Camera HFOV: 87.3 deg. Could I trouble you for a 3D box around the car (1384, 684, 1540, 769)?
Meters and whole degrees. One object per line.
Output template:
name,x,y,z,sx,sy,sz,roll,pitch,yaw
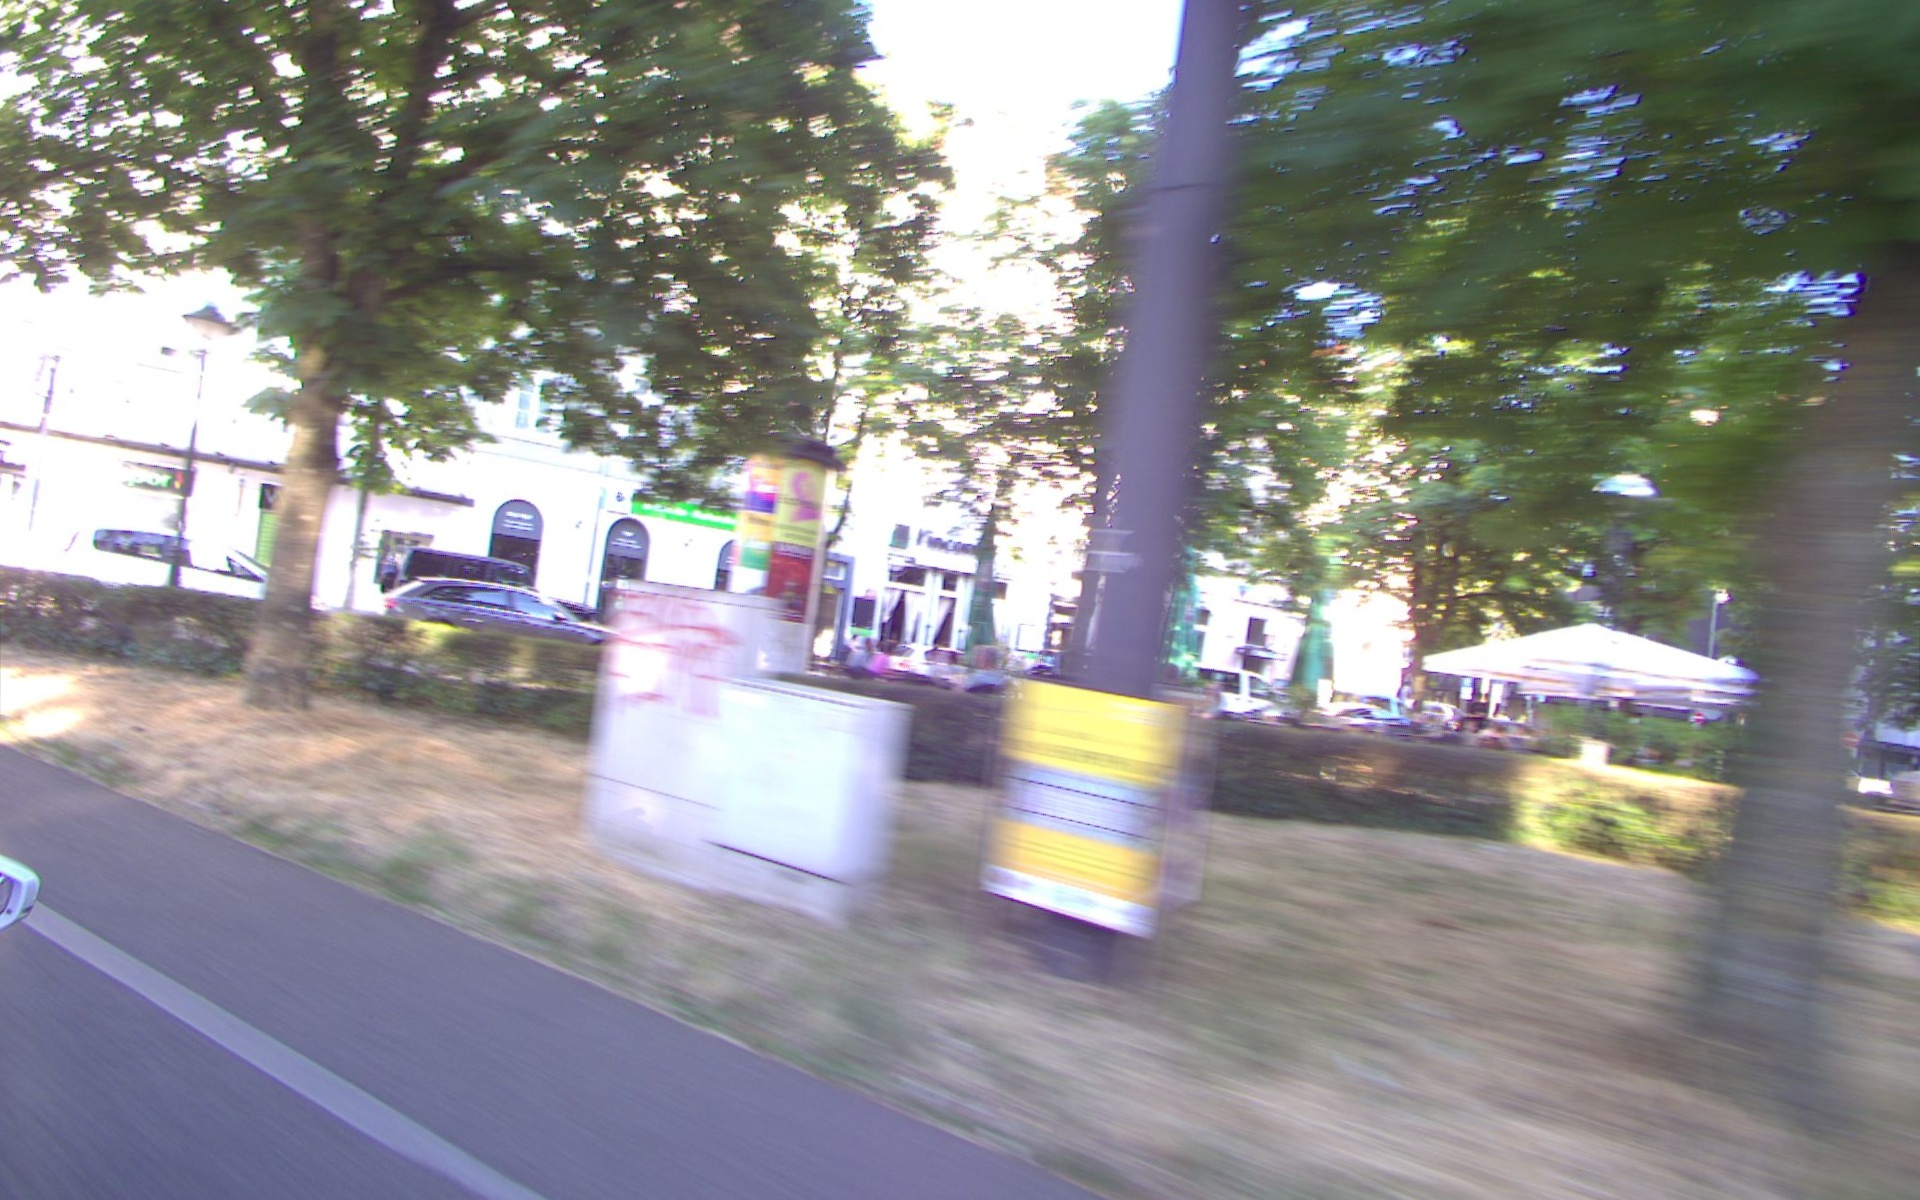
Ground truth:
car,15.804,3.986,31.663,4.384,2.036,1.989,9,-2,-26

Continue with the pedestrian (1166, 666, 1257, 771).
pedestrian,3.408,1.593,13.685,0.653,1.255,0.950,12,-4,-12

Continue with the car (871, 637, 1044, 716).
car,-0.056,2.221,29.108,4.461,1.635,2.011,9,-3,-27

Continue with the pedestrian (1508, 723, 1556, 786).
pedestrian,11.395,3.067,20.055,0.548,1.130,0.493,8,-2,-6

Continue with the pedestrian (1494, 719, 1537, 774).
pedestrian,12.424,3.271,22.516,0.548,1.130,0.493,8,-2,-6

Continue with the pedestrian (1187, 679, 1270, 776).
pedestrian,3.883,1.830,14.616,0.653,1.256,0.950,9,-3,-13

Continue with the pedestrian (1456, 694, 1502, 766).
pedestrian,12.465,3.111,24.162,0.628,1.596,0.529,8,-2,-6

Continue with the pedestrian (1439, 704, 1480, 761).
pedestrian,10.919,2.892,21.998,0.548,1.130,0.458,8,-2,-6

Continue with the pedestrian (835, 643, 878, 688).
pedestrian,-3.259,2.048,31.710,1.015,1.259,0.682,8,-1,-27

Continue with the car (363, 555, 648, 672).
car,-8.554,0.291,19.192,4.620,1.531,1.728,9,-2,-27

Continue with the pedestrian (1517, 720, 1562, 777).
pedestrian,12.552,3.212,21.808,0.548,1.130,0.493,8,-2,-6

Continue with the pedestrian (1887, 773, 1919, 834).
pedestrian,21.833,4.627,22.367,1.427,1.264,1.033,7,-2,26

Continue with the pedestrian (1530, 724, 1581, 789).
pedestrian,11.458,3.004,19.357,0.548,1.130,0.493,8,-2,-6

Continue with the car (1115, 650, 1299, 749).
car,6.659,2.677,27.063,4.384,2.036,1.989,9,-2,-26

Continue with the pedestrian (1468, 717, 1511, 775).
pedestrian,11.284,3.099,21.448,0.548,1.130,0.458,8,-2,-6

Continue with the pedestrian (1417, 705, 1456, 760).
pedestrian,10.723,2.985,22.646,0.521,1.130,0.458,8,-2,-6

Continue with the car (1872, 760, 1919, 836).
car,26.133,5.365,25.802,3.934,1.793,1.911,9,-2,-9

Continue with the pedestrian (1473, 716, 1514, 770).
pedestrian,12.300,3.284,23.198,0.548,1.130,0.493,8,-2,-6

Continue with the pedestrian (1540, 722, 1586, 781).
pedestrian,12.674,3.181,21.149,0.548,1.130,0.493,8,-2,-6

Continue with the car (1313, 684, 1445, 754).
car,15.708,4.470,37.670,4.461,1.985,2.011,9,-3,-27

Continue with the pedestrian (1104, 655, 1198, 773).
pedestrian,2.461,1.457,13.079,0.720,1.371,1.013,7,-2,-13

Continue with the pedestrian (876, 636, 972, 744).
pedestrian,-0.491,1.194,13.485,0.772,1.257,0.981,9,-2,-29

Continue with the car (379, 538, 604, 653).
car,-10.986,-0.073,23.789,4.461,1.986,2.010,9,-2,-27

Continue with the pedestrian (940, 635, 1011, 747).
pedestrian,0.182,1.096,12.260,0.560,1.259,0.611,7,-1,-16

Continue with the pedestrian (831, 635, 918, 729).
pedestrian,-1.335,1.280,15.695,0.945,1.255,0.657,14,-4,-34

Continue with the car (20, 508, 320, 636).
car,-13.060,-0.421,16.935,3.537,1.531,1.728,9,-2,-27

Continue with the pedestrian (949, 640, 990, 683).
pedestrian,0.318,2.029,33.261,1.015,1.259,0.682,8,-1,-27

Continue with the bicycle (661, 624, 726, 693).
bicycle,-4.044,0.883,15.365,0.545,0.940,1.530,7,-2,-3

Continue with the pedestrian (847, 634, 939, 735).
pedestrian,-0.993,1.252,14.963,0.945,1.296,0.657,14,-4,-34

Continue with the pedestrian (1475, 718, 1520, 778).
pedestrian,11.035,3.034,20.667,0.548,1.130,0.458,8,-2,-6

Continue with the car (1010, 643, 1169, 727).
car,4.107,2.683,31.791,4.461,1.985,2.011,9,-3,-27

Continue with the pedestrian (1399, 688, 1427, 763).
pedestrian,10.547,2.919,23.426,0.382,1.705,0.329,6,-1,30

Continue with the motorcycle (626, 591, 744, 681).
motorcycle,-4.974,0.702,18.403,0.933,1.382,2.248,7,-4,15
